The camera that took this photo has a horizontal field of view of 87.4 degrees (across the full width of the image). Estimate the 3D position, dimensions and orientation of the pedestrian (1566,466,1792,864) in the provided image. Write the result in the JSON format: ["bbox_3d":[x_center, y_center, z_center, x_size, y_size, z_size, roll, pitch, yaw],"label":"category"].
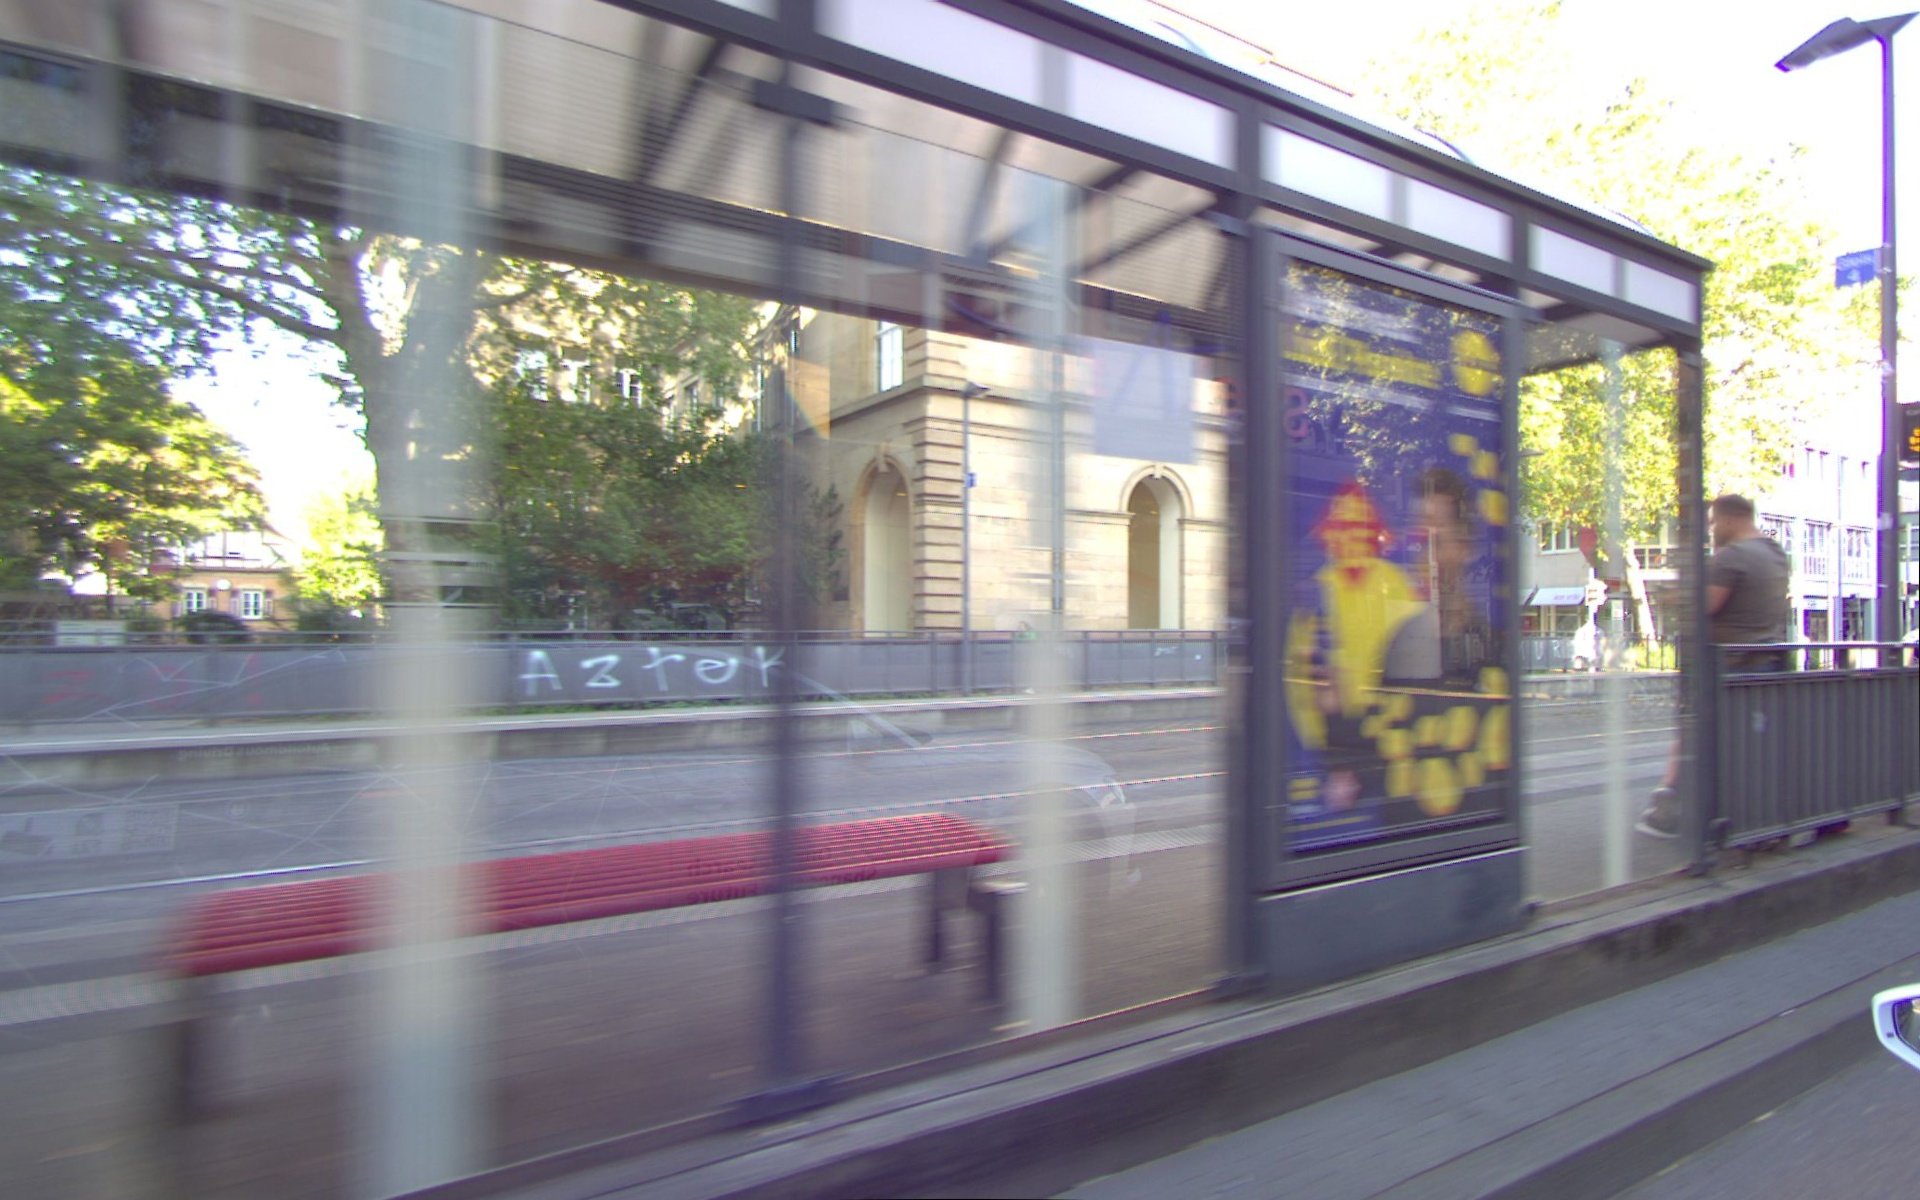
[{"bbox_3d":[3.479,0.291,4.868,0.840,1.734,0.619,1,-1,-31],"label":"pedestrian"}]

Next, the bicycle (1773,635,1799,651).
[{"bbox_3d":[36.707,1.890,44.629,1.793,0.667,0.452,1,1,-36],"label":"bicycle"}]

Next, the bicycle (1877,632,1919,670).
[{"bbox_3d":[29.217,1.579,30.564,1.869,1.092,0.582,3,1,37],"label":"bicycle"}]

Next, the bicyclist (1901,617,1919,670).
[{"bbox_3d":[29.213,1.318,30.612,0.734,1.599,0.531,0,-1,38],"label":"bicyclist"}]

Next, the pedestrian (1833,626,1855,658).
[{"bbox_3d":[47.657,2.267,54.147,0.609,1.734,0.738,1,-1,-34],"label":"pedestrian"}]
